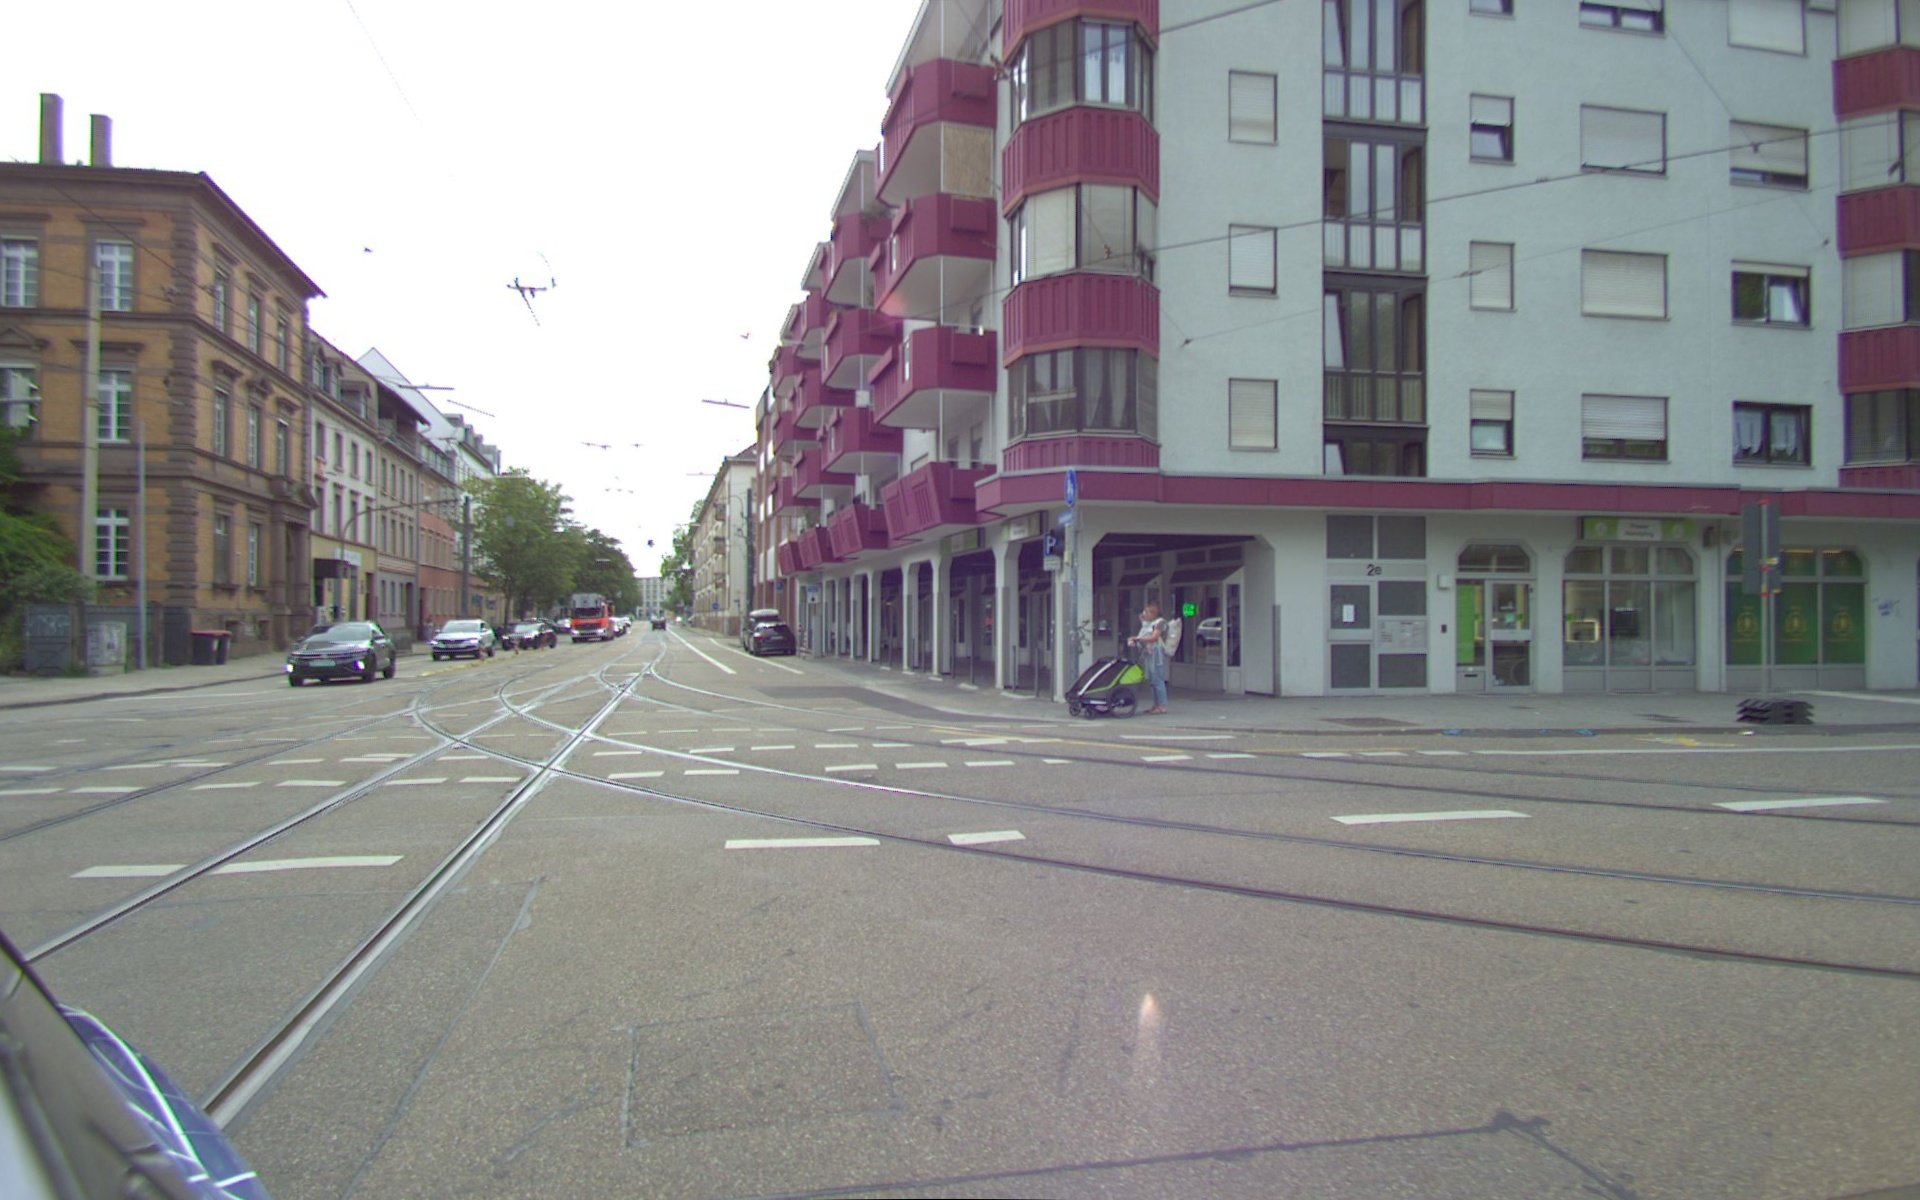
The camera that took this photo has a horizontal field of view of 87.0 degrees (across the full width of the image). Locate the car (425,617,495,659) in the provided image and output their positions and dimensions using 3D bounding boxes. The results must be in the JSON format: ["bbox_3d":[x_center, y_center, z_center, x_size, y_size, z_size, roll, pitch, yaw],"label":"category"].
[{"bbox_3d":[-20.695,1.554,42.045,1.745,1.603,4.293,-1,-1,-14],"label":"car"}]

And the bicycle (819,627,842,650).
[{"bbox_3d":[-5.492,1.621,42.819,0.556,0.960,1.655,1,-2,-23],"label":"bicycle"}]

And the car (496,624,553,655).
[{"bbox_3d":[-23.269,2.094,54.241,1.747,1.546,4.055,-1,-1,-7],"label":"car"}]

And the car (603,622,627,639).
[{"bbox_3d":[-31.154,2.760,91.407,1.879,1.498,4.012,1,-2,-17],"label":"car"}]

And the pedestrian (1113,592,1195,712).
[{"bbox_3d":[2.935,0.771,15.364,0.934,1.757,0.815,0,-2,-18],"label":"pedestrian"}]

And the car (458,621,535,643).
[{"bbox_3d":[-32.662,2.279,71.379,4.555,1.484,1.793,3,-3,-39],"label":"car"}]

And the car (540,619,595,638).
[{"bbox_3d":[-38.340,2.791,98.909,4.555,1.711,1.920,3,-3,-39],"label":"car"}]

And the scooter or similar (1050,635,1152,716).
[{"bbox_3d":[2.086,1.096,15.072,1.179,1.137,0.949,0,-2,-17],"label":"scooter or similar"}]

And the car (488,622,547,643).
[{"bbox_3d":[-37.213,2.736,85.096,4.172,1.711,1.743,3,-3,-39],"label":"car"}]

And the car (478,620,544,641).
[{"bbox_3d":[-34.706,2.353,78.260,4.276,1.491,1.793,3,-3,-39],"label":"car"}]

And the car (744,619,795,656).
[{"bbox_3d":[-8.537,1.655,45.075,1.730,1.491,4.711,-2,-1,-16],"label":"car"}]

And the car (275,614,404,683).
[{"bbox_3d":[-15.705,1.193,25.854,1.744,1.559,4.294,-1,-1,-17],"label":"car"}]

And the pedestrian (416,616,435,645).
[{"bbox_3d":[-32.773,1.876,62.063,0.720,1.701,0.929,4,-3,-16],"label":"pedestrian"}]

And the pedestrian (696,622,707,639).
[{"bbox_3d":[-27.723,3.244,108.634,0.984,1.856,1.022,1,-2,-24],"label":"pedestrian"}]

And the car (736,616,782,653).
[{"bbox_3d":[-10.096,1.703,50.612,1.782,1.660,4.711,-2,-1,-16],"label":"car"}]

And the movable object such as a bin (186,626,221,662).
[{"bbox_3d":[-23.963,1.400,32.074,0.641,1.090,0.680,4,-2,-19],"label":"movable object such as a bin"}]

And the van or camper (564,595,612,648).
[{"bbox_3d":[-26.013,1.521,71.082,2.565,3.447,9.681,0,-1,-17],"label":"van or camper"}]

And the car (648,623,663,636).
[{"bbox_3d":[-38.282,3.685,127.297,1.745,1.549,4.060,-1,-1,-15],"label":"car"}]

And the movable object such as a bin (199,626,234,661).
[{"bbox_3d":[-24.087,1.403,32.783,0.654,1.090,0.703,4,-2,-19],"label":"movable object such as a bin"}]
